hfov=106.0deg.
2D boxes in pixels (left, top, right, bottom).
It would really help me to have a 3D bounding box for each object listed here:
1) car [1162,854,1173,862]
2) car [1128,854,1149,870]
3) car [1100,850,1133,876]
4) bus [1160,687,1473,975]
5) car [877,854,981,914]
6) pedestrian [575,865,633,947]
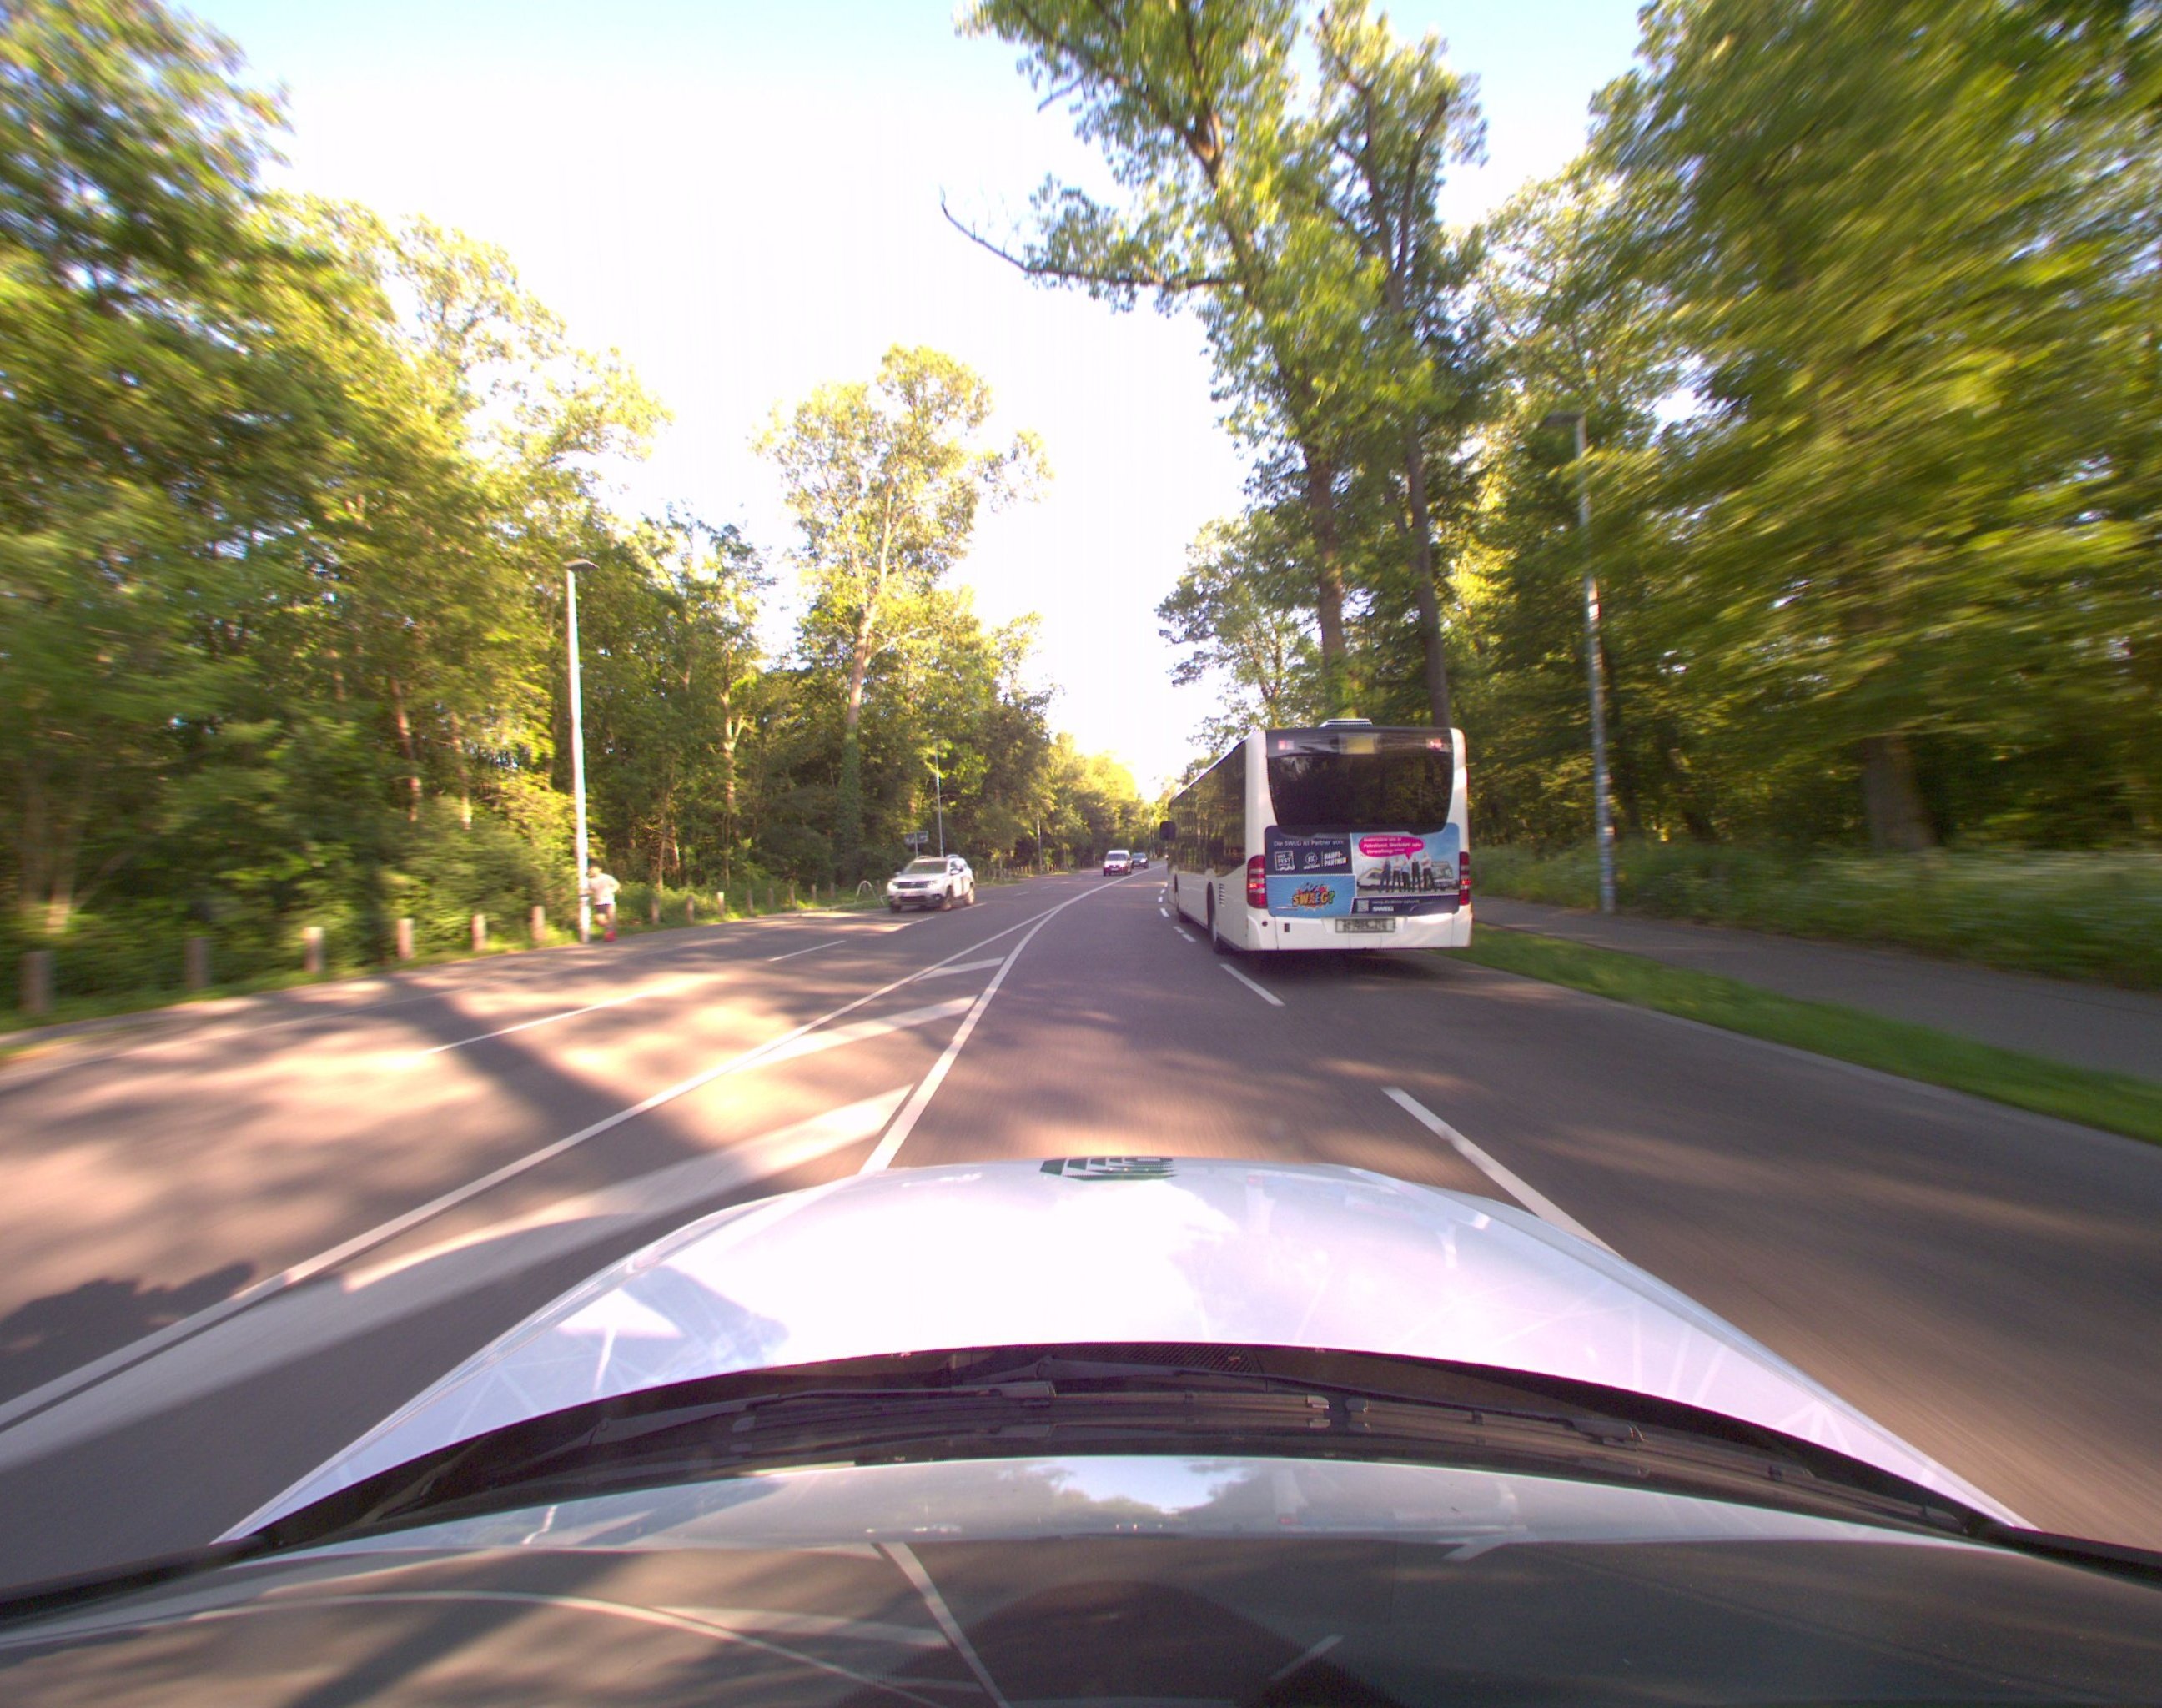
[{"bbox_3d":[16.134,0.712,151.906,1.814,1.462,4.933,-1,0,6],"label":"car"},{"bbox_3d":[5.822,0.811,82.208,1.795,1.545,4.099,-3,0,8],"label":"car"},{"bbox_3d":[2.644,0.645,59.528,1.895,1.756,4.810,-2,0,8],"label":"car"},{"bbox_3d":[3.271,-0.214,15.418,2.694,3.222,12.283,-1,-1,2],"label":"bus"},{"bbox_3d":[-4.672,0.866,25.721,1.983,1.659,4.456,-2,0,6],"label":"car"},{"bbox_3d":[-10.830,1.158,18.506,0.768,1.768,0.738,-4,-1,1],"label":"pedestrian"}]
